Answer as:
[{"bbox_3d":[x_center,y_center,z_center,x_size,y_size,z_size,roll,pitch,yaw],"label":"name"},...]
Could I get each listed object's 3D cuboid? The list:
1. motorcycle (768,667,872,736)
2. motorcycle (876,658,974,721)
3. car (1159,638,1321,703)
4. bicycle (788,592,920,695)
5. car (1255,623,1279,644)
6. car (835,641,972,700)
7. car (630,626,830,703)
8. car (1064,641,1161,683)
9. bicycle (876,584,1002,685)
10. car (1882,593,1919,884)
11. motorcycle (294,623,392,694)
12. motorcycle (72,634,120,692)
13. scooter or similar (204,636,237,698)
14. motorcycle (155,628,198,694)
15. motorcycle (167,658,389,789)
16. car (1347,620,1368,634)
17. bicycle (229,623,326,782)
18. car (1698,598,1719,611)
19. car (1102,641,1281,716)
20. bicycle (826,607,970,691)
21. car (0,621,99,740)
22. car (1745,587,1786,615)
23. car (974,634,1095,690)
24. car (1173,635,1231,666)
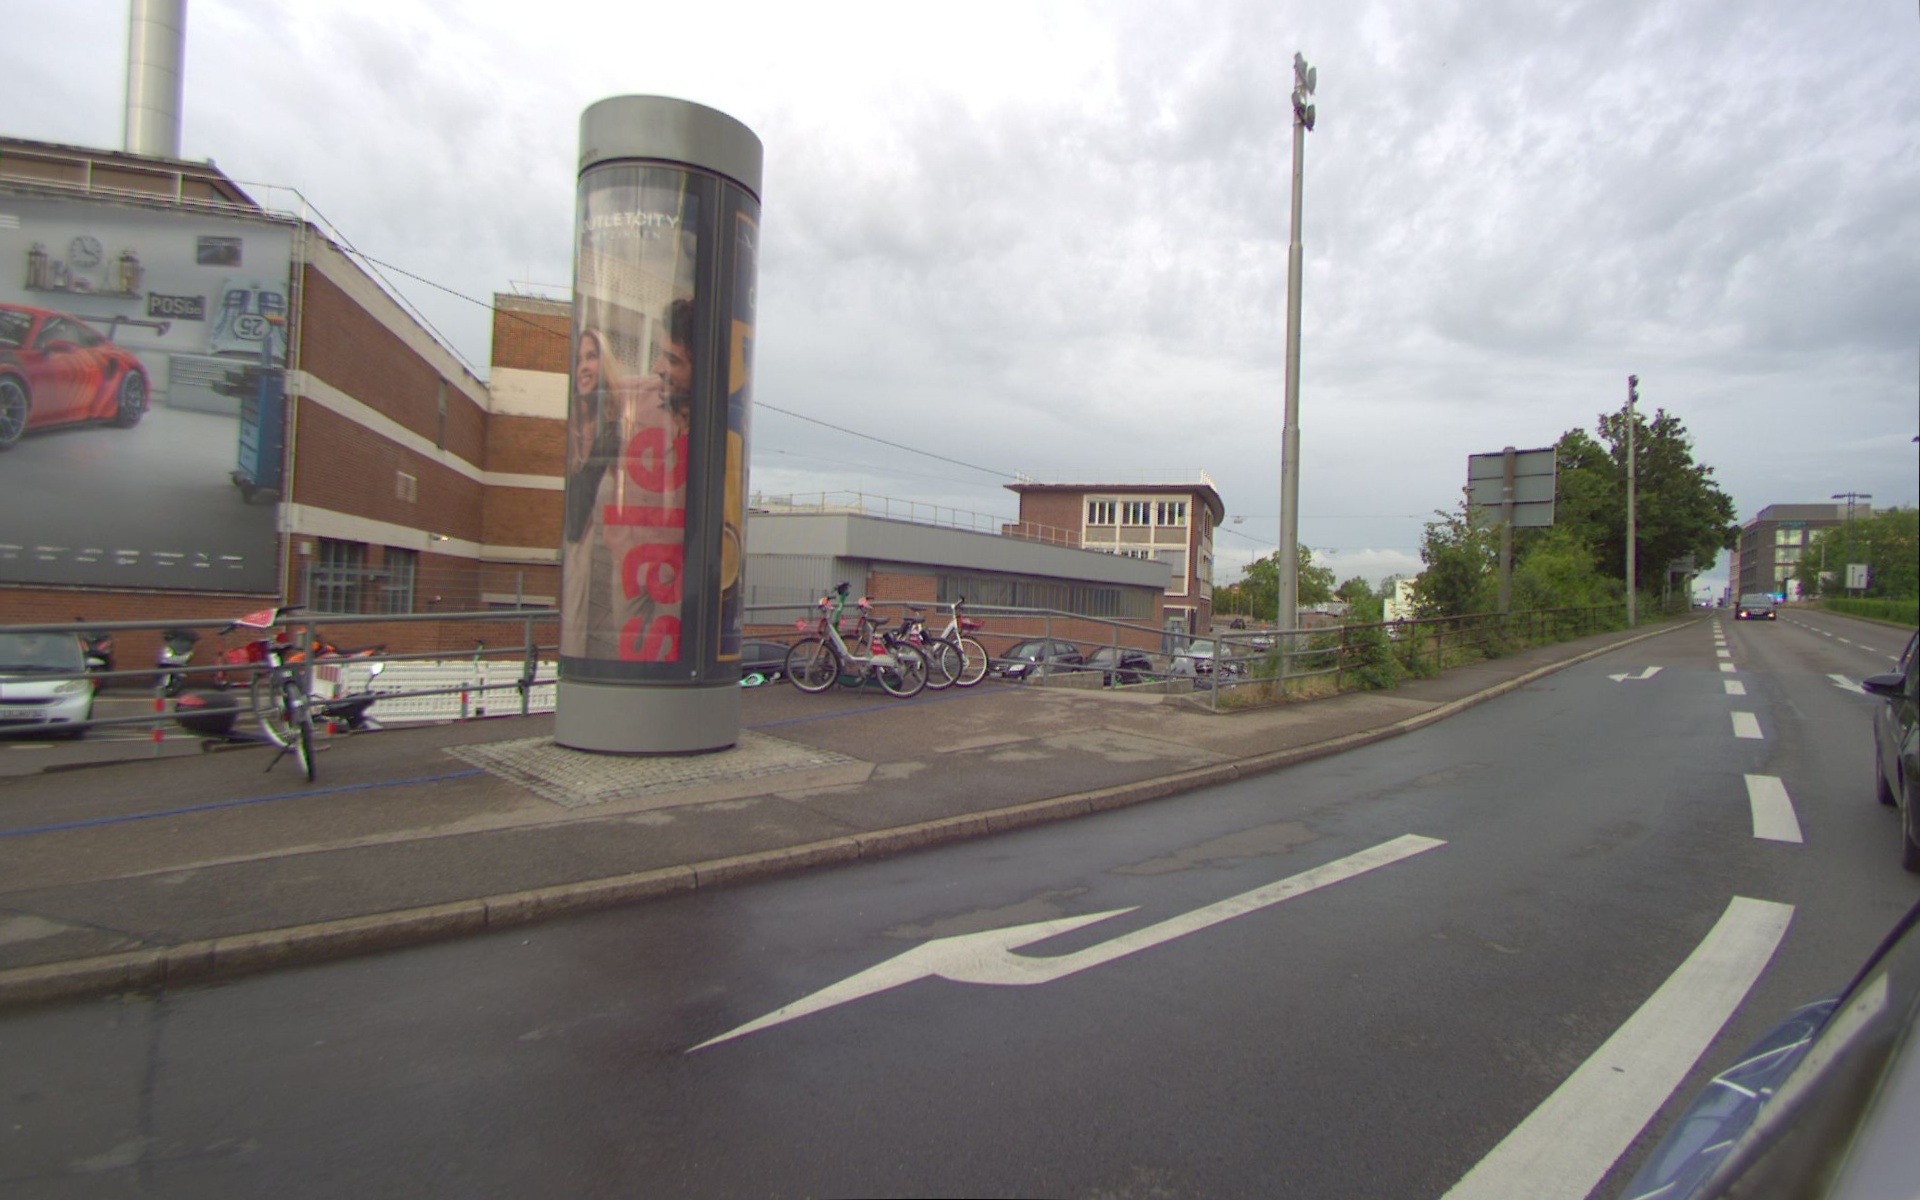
[{"bbox_3d":[-2.114,1.510,15.207,1.600,0.933,0.417,0,0,27],"label":"motorcycle"},{"bbox_3d":[-0.578,1.460,16.682,1.599,0.933,0.418,0,0,25],"label":"motorcycle"},{"bbox_3d":[7.388,1.817,27.044,1.688,1.444,3.999,2,-1,-36],"label":"car"},{"bbox_3d":[-1.217,0.482,11.652,1.438,1.087,0.442,2,2,9],"label":"bicycle"},{"bbox_3d":[23.221,2.536,76.429,1.698,1.444,3.976,1,0,18],"label":"car"},{"bbox_3d":[-1.556,1.955,29.009,1.712,1.444,3.943,1,-1,39],"label":"car"},{"bbox_3d":[-5.335,1.434,23.998,1.880,1.570,4.445,1,-1,38],"label":"car"},{"bbox_3d":[5.939,2.343,39.007,1.713,1.422,4.211,1,-1,41],"label":"car"},{"bbox_3d":[-0.277,0.415,12.843,1.527,1.169,0.448,3,3,22],"label":"bicycle"},{"bbox_3d":[6.781,0.730,6.070,1.687,1.526,3.953,0,1,40],"label":"car"},{"bbox_3d":[-12.714,1.174,20.897,0.521,1.350,1.646,-1,0,38],"label":"motorcycle"},{"bbox_3d":[-16.199,1.156,18.988,0.531,0.985,1.616,-1,0,-35],"label":"motorcycle"},{"bbox_3d":[-14.667,1.314,20.097,0.495,1.110,1.639,-1,0,-35],"label":"scooter or similar"},{"bbox_3d":[-15.223,1.151,19.678,0.574,1.166,1.720,-1,0,-35],"label":"motorcycle"},{"bbox_3d":[-5.725,0.999,8.578,0.400,0.901,1.521,1,1,36],"label":"motorcycle"},{"bbox_3d":[44.557,2.981,113.442,1.695,1.444,3.982,1,0,14],"label":"car"},{"bbox_3d":[-4.827,0.664,7.123,0.414,0.933,1.615,1,0,-39],"label":"bicycle"},{"bbox_3d":[93.689,0.547,126.750,1.805,1.457,4.250,2,0,33],"label":"car"},{"bbox_3d":[5.377,1.785,23.964,1.688,1.444,3.999,2,-1,-36],"label":"car"},{"bbox_3d":[-0.731,0.576,12.122,1.673,0.933,0.486,1,1,4],"label":"bicycle"},{"bbox_3d":[-14.063,1.118,15.229,1.541,1.508,3.992,2,-1,-42],"label":"car"},{"bbox_3d":[45.525,0.039,57.189,1.741,1.493,4.011,0,0,39],"label":"car"},{"bbox_3d":[2.596,2.047,34.336,1.777,1.688,4.438,1,-1,41],"label":"car"},{"bbox_3d":[12.175,2.493,50.775,1.720,1.406,3.955,1,-1,31],"label":"car"}]
